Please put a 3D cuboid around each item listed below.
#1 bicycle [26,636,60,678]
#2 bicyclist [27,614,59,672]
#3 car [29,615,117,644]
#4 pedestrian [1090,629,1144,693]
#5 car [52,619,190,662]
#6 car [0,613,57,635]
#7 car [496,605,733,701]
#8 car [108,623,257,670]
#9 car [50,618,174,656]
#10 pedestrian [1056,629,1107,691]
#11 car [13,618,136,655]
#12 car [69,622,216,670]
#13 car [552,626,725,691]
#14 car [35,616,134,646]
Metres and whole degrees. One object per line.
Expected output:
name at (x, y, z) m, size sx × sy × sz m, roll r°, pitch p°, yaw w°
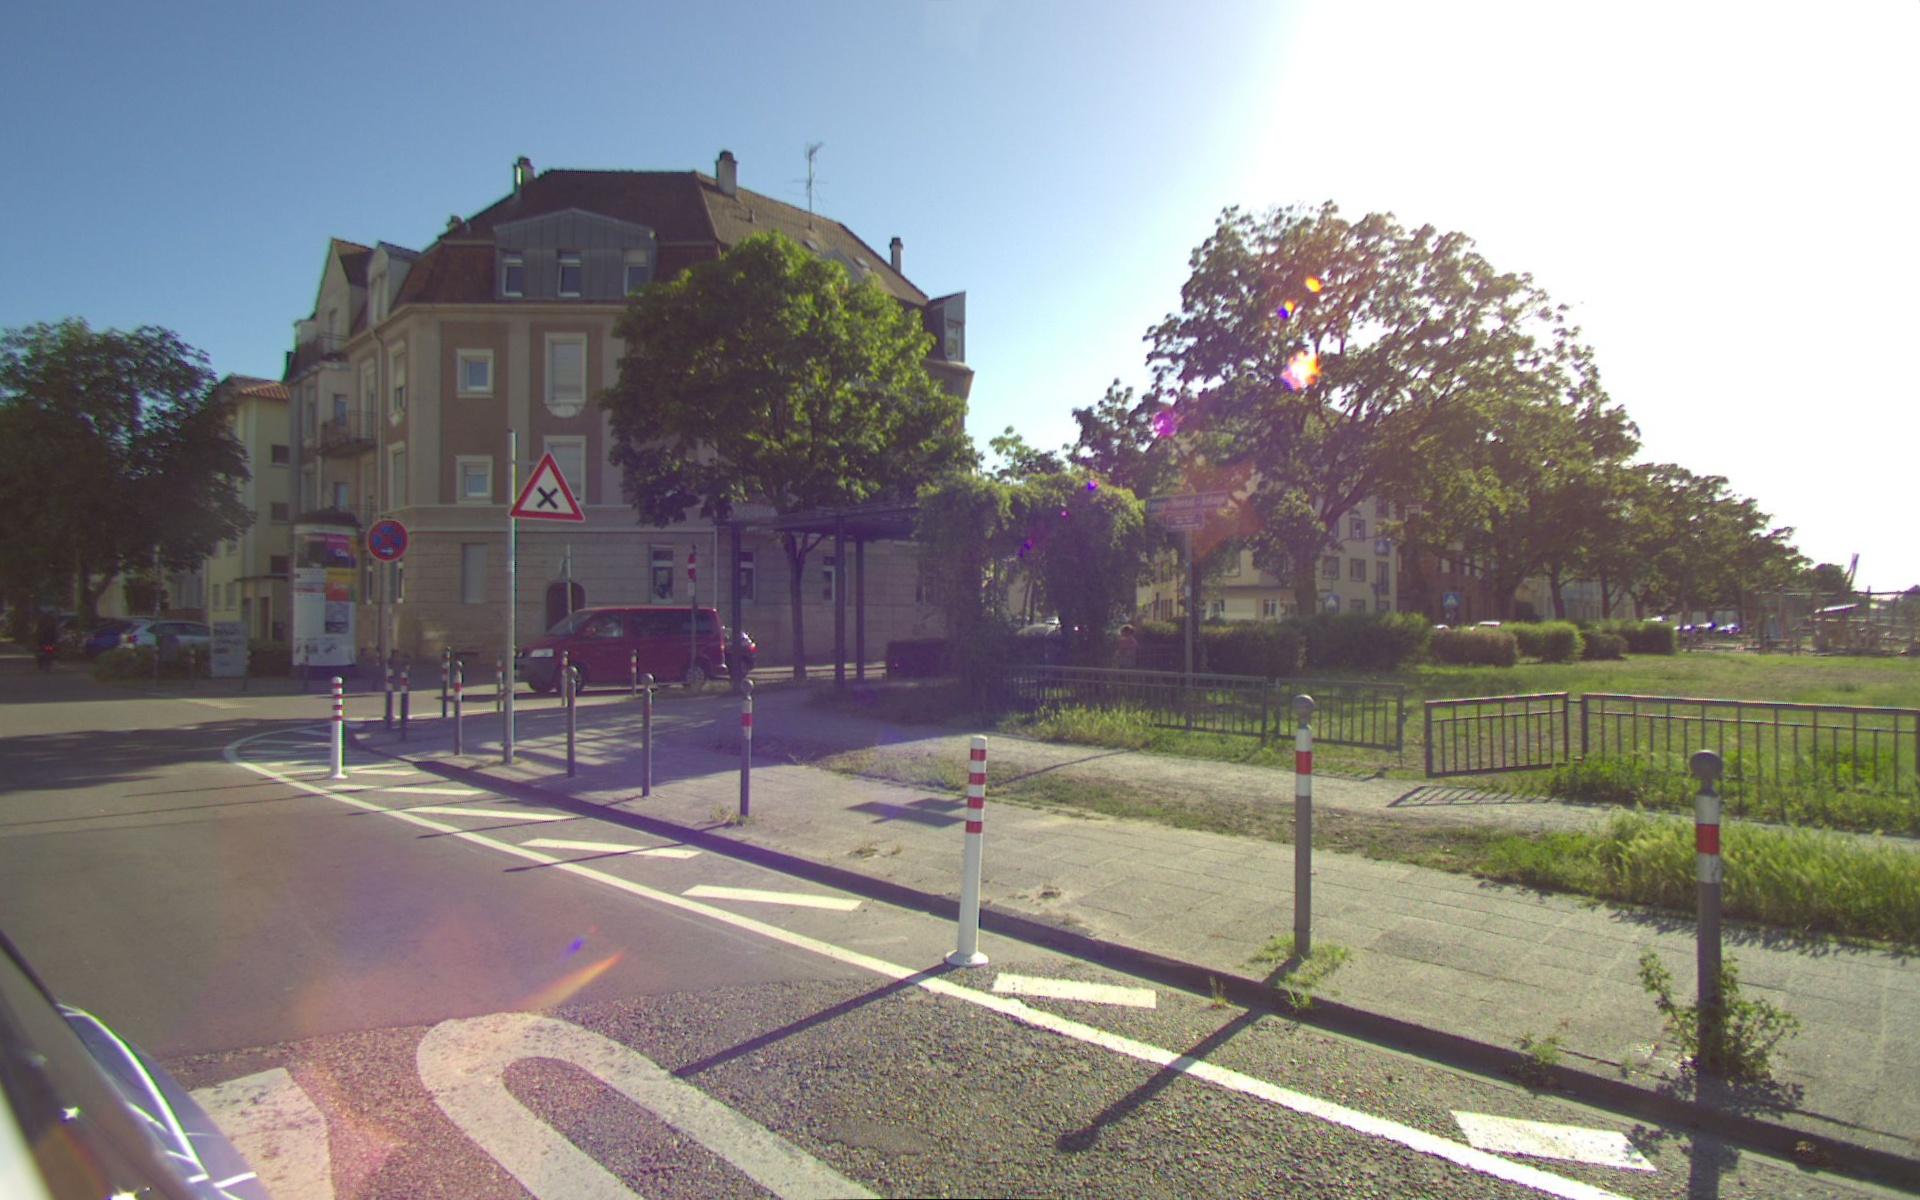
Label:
bicycle at (-26.444, 1.623, 29.171) m, size 0.635 × 1.117 × 2.066 m, roll 2°, pitch -2°, yaw -45°
bicyclist at (-26.400, 1.224, 29.137) m, size 0.635 × 1.632 × 0.637 m, roll 2°, pitch -2°, yaw -45°
car at (-49.708, 1.639, 56.743) m, size 1.690 × 1.506 × 3.484 m, roll -1°, pitch -1°, yaw 39°
pedestrian at (2.916, 1.118, 18.818) m, size 0.862 × 1.147 × 0.599 m, roll 2°, pitch -2°, yaw -45°
car at (-32.032, 1.522, 38.725) m, size 1.686 × 1.506 × 3.751 m, roll -1°, pitch -1°, yaw 31°
car at (-73.038, 1.870, 79.167) m, size 1.692 × 1.716 × 3.481 m, roll -1°, pitch -1°, yaw 42°
car at (-7.935, 1.174, 23.526) m, size 4.810 × 1.975 × 1.900 m, roll 2°, pitch -1°, yaw -41°
car at (-26.196, 1.519, 34.170) m, size 1.691 × 1.455 × 3.739 m, roll -1°, pitch -1°, yaw 41°
car at (-36.226, 1.545, 43.314) m, size 1.686 × 1.506 × 3.751 m, roll -1°, pitch -1°, yaw 31°
pedestrian at (2.325, 1.133, 19.354) m, size 0.833 × 1.158 × 0.599 m, roll 2°, pitch -2°, yaw -45°
car at (-39.005, 1.581, 44.662) m, size 1.686 × 1.506 × 3.751 m, roll -1°, pitch -1°, yaw 31°
car at (-28.309, 1.544, 35.118) m, size 1.691 × 1.506 × 3.739 m, roll -1°, pitch -1°, yaw 41°
car at (-8.467, 1.485, 26.876) m, size 1.867 × 1.494 × 3.960 m, roll 3°, pitch 1°, yaw 41°
car at (-46.459, 1.636, 53.770) m, size 1.690 × 1.506 × 3.742 m, roll -1°, pitch -1°, yaw 39°
